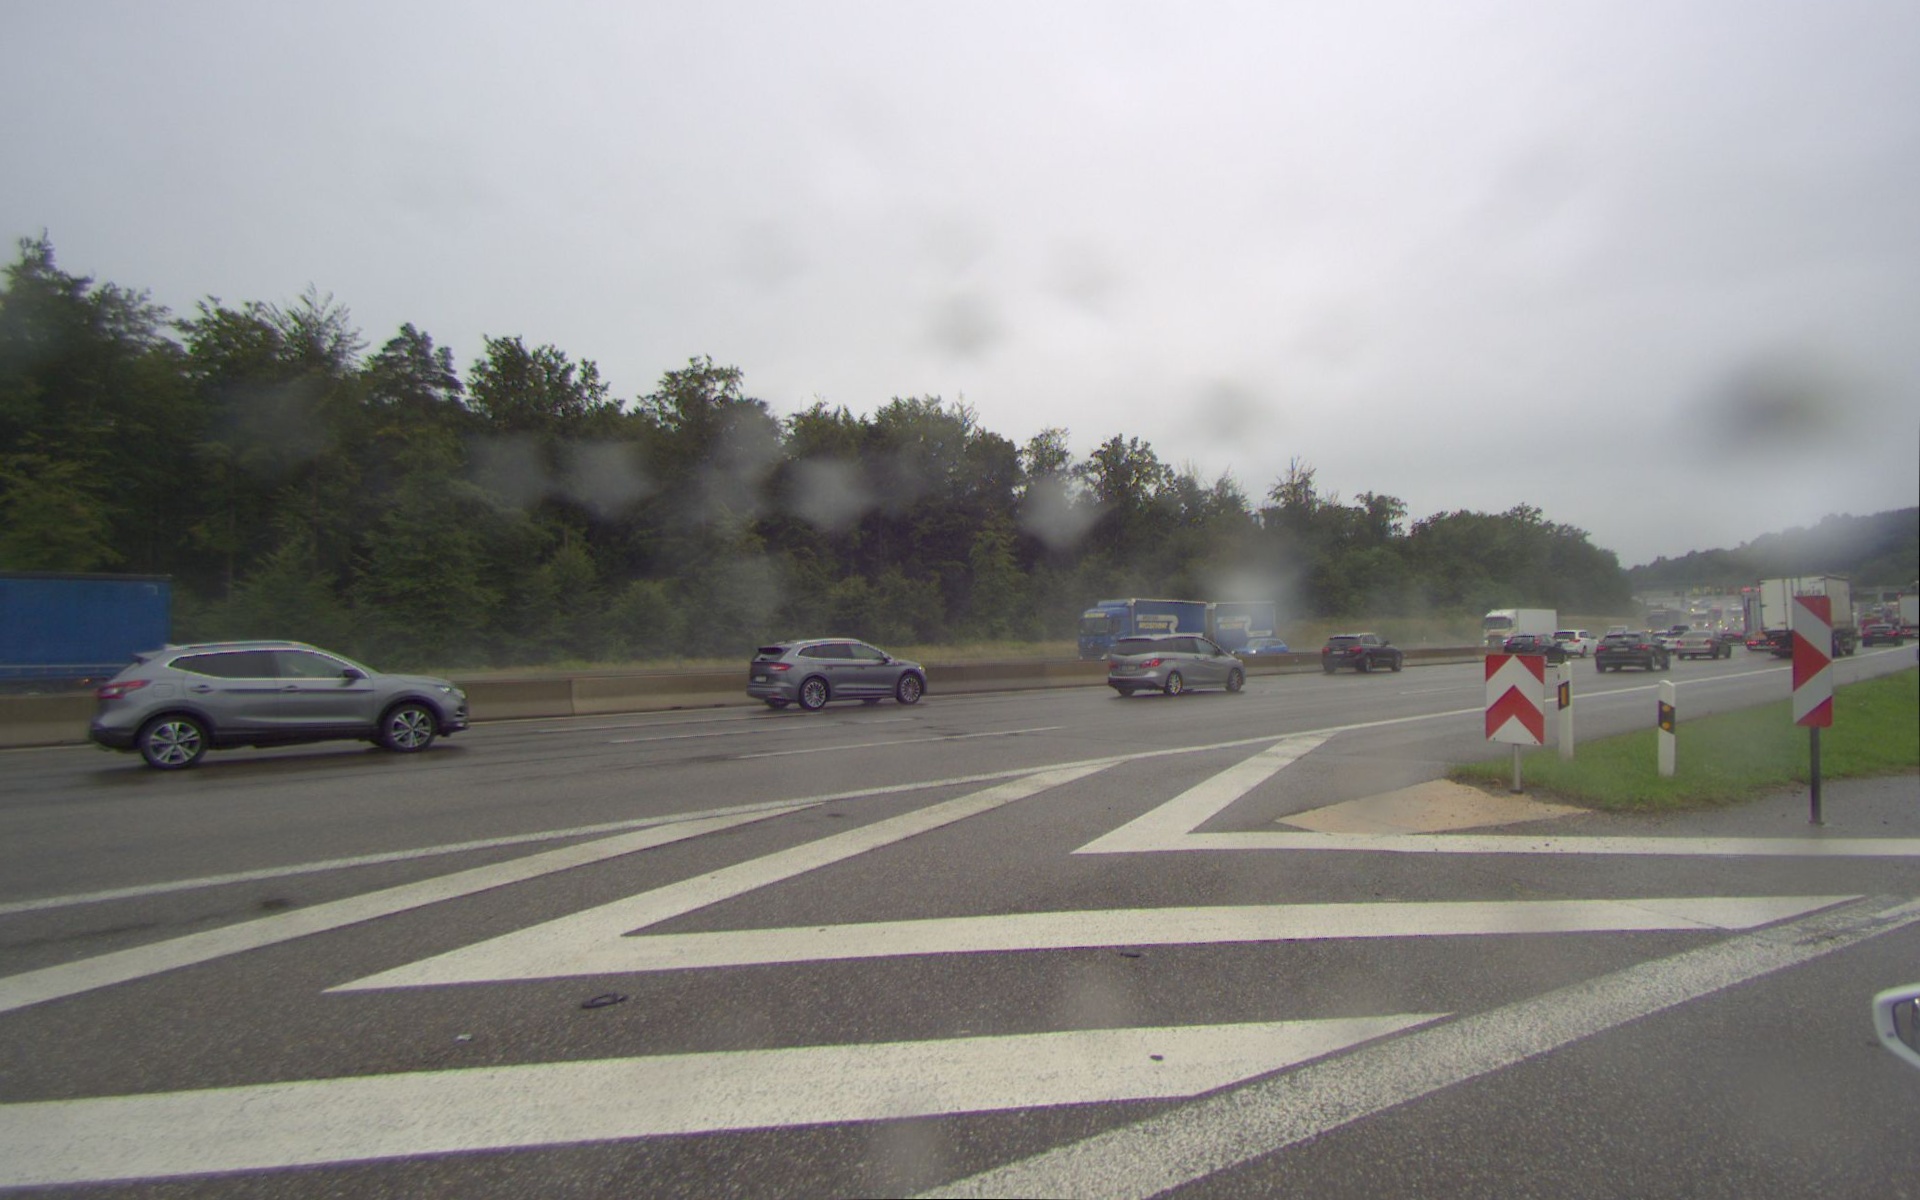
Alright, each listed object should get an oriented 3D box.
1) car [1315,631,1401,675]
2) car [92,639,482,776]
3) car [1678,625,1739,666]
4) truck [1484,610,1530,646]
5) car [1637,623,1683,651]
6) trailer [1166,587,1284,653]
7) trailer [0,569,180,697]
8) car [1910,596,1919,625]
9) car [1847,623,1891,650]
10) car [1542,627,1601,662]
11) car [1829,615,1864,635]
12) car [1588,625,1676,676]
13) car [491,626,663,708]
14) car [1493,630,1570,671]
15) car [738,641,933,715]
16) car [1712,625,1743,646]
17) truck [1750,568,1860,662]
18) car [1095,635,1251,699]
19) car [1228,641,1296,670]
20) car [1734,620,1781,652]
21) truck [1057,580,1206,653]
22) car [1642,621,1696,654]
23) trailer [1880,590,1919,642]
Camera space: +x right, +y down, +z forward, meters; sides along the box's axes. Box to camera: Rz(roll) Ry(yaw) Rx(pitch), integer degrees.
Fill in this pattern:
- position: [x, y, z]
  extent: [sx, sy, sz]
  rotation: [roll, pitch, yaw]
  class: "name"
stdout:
- position: [17.047, 2.256, 42.946]
  extent: [4.069, 1.758, 1.760]
  rotation: [1, -4, -42]
  class: "car"
- position: [-9.170, 1.371, 13.950]
  extent: [4.299, 1.595, 1.704]
  rotation: [1, -4, -40]
  class: "car"
- position: [38.307, 2.292, 51.380]
  extent: [4.305, 1.997, 1.771]
  rotation: [2, -3, -44]
  class: "car"
- position: [56.224, 2.895, 103.176]
  extent: [5.565, 3.497, 2.620]
  rotation: [2, -3, -45]
  class: "truck"
- position: [52.458, 2.786, 75.264]
  extent: [3.971, 2.040, 1.975]
  rotation: [1, -4, -43]
  class: "car"
- position: [17.973, 1.381, 67.828]
  extent: [9.097, 4.101, 3.063]
  rotation: [2, 0, -42]
  class: "trailer"
- position: [-28.186, 0.894, 26.955]
  extent: [11.312, 3.462, 2.708]
  rotation: [1, -2, -42]
  class: "trailer"
- position: [118.317, 1.364, 123.277]
  extent: [2.346, 3.531, 4.788]
  rotation: [1, 0, 43]
  class: "car"
- position: [63.854, 2.529, 70.533]
  extent: [3.971, 1.840, 1.975]
  rotation: [1, -2, -43]
  class: "car"
- position: [37.264, 2.682, 61.174]
  extent: [3.971, 2.040, 1.976]
  rotation: [2, -4, -43]
  class: "car"
- position: [82.602, 2.328, 93.588]
  extent: [3.968, 1.840, 1.976]
  rotation: [1, 0, -41]
  class: "car"
- position: [24.683, 1.829, 36.856]
  extent: [3.818, 1.758, 1.760]
  rotation: [1, -4, -42]
  class: "car"
- position: [-10.303, 1.749, 27.163]
  extent: [3.969, 2.040, 1.858]
  rotation: [1, -3, -41]
  class: "car"
- position: [25.631, 2.247, 45.021]
  extent: [4.069, 1.759, 1.760]
  rotation: [1, -3, -42]
  class: "car"
- position: [-2.909, 1.815, 24.094]
  extent: [4.422, 1.594, 1.705]
  rotation: [1, -4, -40]
  class: "car"
- position: [69.114, 3.190, 90.472]
  extent: [3.761, 1.810, 1.681]
  rotation: [1, -3, -45]
  class: "car"
- position: [43.630, 0.896, 51.677]
  extent: [11.759, 4.348, 2.823]
  rotation: [2, -3, -43]
  class: "truck"
- position: [5.738, 1.749, 26.873]
  extent: [4.298, 1.546, 1.774]
  rotation: [1, -3, -39]
  class: "car"
- position: [18.860, 3.448, 62.672]
  extent: [4.334, 1.741, 1.977]
  rotation: [2, -4, -41]
  class: "car"
- position: [52.252, 2.360, 65.771]
  extent: [1.973, 2.040, 3.976]
  rotation: [-4, -4, 44]
  class: "car"
- position: [10.635, 1.076, 61.277]
  extent: [10.480, 4.033, 3.033]
  rotation: [2, 0, -42]
  class: "truck"
- position: [45.416, 2.381, 64.304]
  extent: [3.971, 2.040, 1.975]
  rotation: [1, -4, -43]
  class: "car"
- position: [91.072, 1.645, 96.585]
  extent: [3.510, 4.672, 12.053]
  rotation: [-4, -4, 42]
  class: "trailer"
